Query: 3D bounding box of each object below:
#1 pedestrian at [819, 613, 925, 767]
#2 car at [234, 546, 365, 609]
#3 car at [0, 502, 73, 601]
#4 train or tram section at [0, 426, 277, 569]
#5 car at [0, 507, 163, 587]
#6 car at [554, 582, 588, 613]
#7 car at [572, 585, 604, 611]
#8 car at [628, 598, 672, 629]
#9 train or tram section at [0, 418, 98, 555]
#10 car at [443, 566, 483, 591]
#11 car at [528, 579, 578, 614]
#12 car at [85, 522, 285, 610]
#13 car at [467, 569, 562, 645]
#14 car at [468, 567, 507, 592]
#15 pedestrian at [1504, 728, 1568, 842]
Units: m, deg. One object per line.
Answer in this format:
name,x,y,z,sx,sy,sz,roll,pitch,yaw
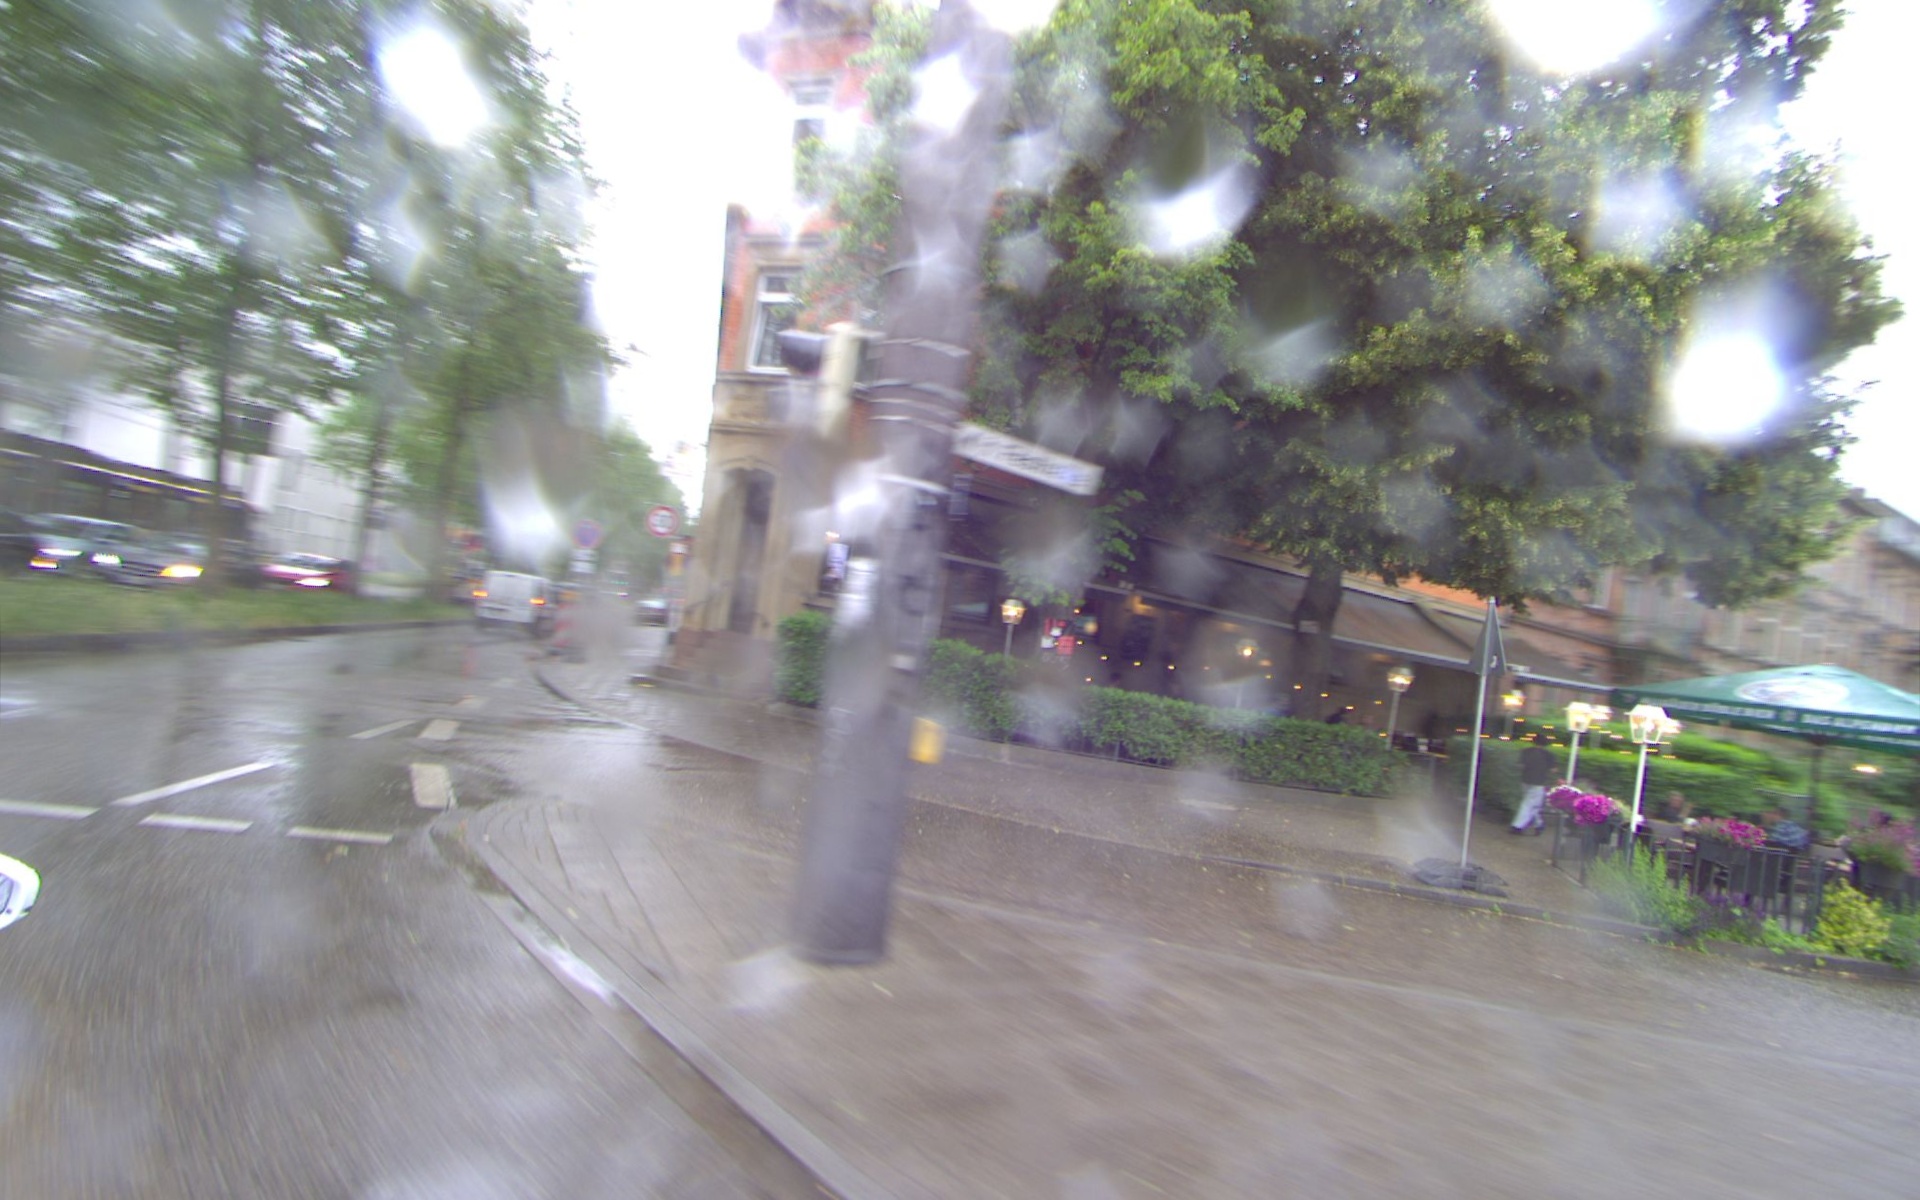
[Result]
pedestrian,-1.159,1.145,13.110,0.562,1.797,1.190,5,3,-43
car,-18.997,-0.589,29.165,1.721,1.413,4.223,9,-2,-14
car,-15.483,-0.881,14.599,1.835,1.501,4.629,9,-2,-14
train or tram section,-31.186,-3.475,38.750,3.070,3.597,14.635,9,-2,-15
car,-20.168,-1.166,22.686,1.721,1.413,4.120,9,-2,-14
car,-25.271,-0.196,65.415,1.606,1.700,3.646,10,-2,-17
car,-27.466,-0.125,74.420,1.630,1.516,4.109,11,-3,-15
car,-17.023,0.753,55.366,1.789,1.437,4.689,6,-2,-12
train or tram section,-27.479,-3.496,24.656,3.069,3.597,14.543,9,-2,-14
car,-35.910,-1.540,72.822,1.720,1.357,3.745,12,-3,-15
car,-22.555,-0.154,55.895,1.678,1.653,4.346,9,-2,-13
car,-17.023,-0.669,22.406,1.721,1.496,4.421,9,-2,-14
car,-13.048,0.248,29.703,1.883,1.816,4.102,9,-4,-17
car,-37.739,-1.588,80.443,1.971,1.630,3.989,9,-2,-15
pedestrian,9.120,2.921,15.932,0.384,1.664,0.547,9,0,-27
